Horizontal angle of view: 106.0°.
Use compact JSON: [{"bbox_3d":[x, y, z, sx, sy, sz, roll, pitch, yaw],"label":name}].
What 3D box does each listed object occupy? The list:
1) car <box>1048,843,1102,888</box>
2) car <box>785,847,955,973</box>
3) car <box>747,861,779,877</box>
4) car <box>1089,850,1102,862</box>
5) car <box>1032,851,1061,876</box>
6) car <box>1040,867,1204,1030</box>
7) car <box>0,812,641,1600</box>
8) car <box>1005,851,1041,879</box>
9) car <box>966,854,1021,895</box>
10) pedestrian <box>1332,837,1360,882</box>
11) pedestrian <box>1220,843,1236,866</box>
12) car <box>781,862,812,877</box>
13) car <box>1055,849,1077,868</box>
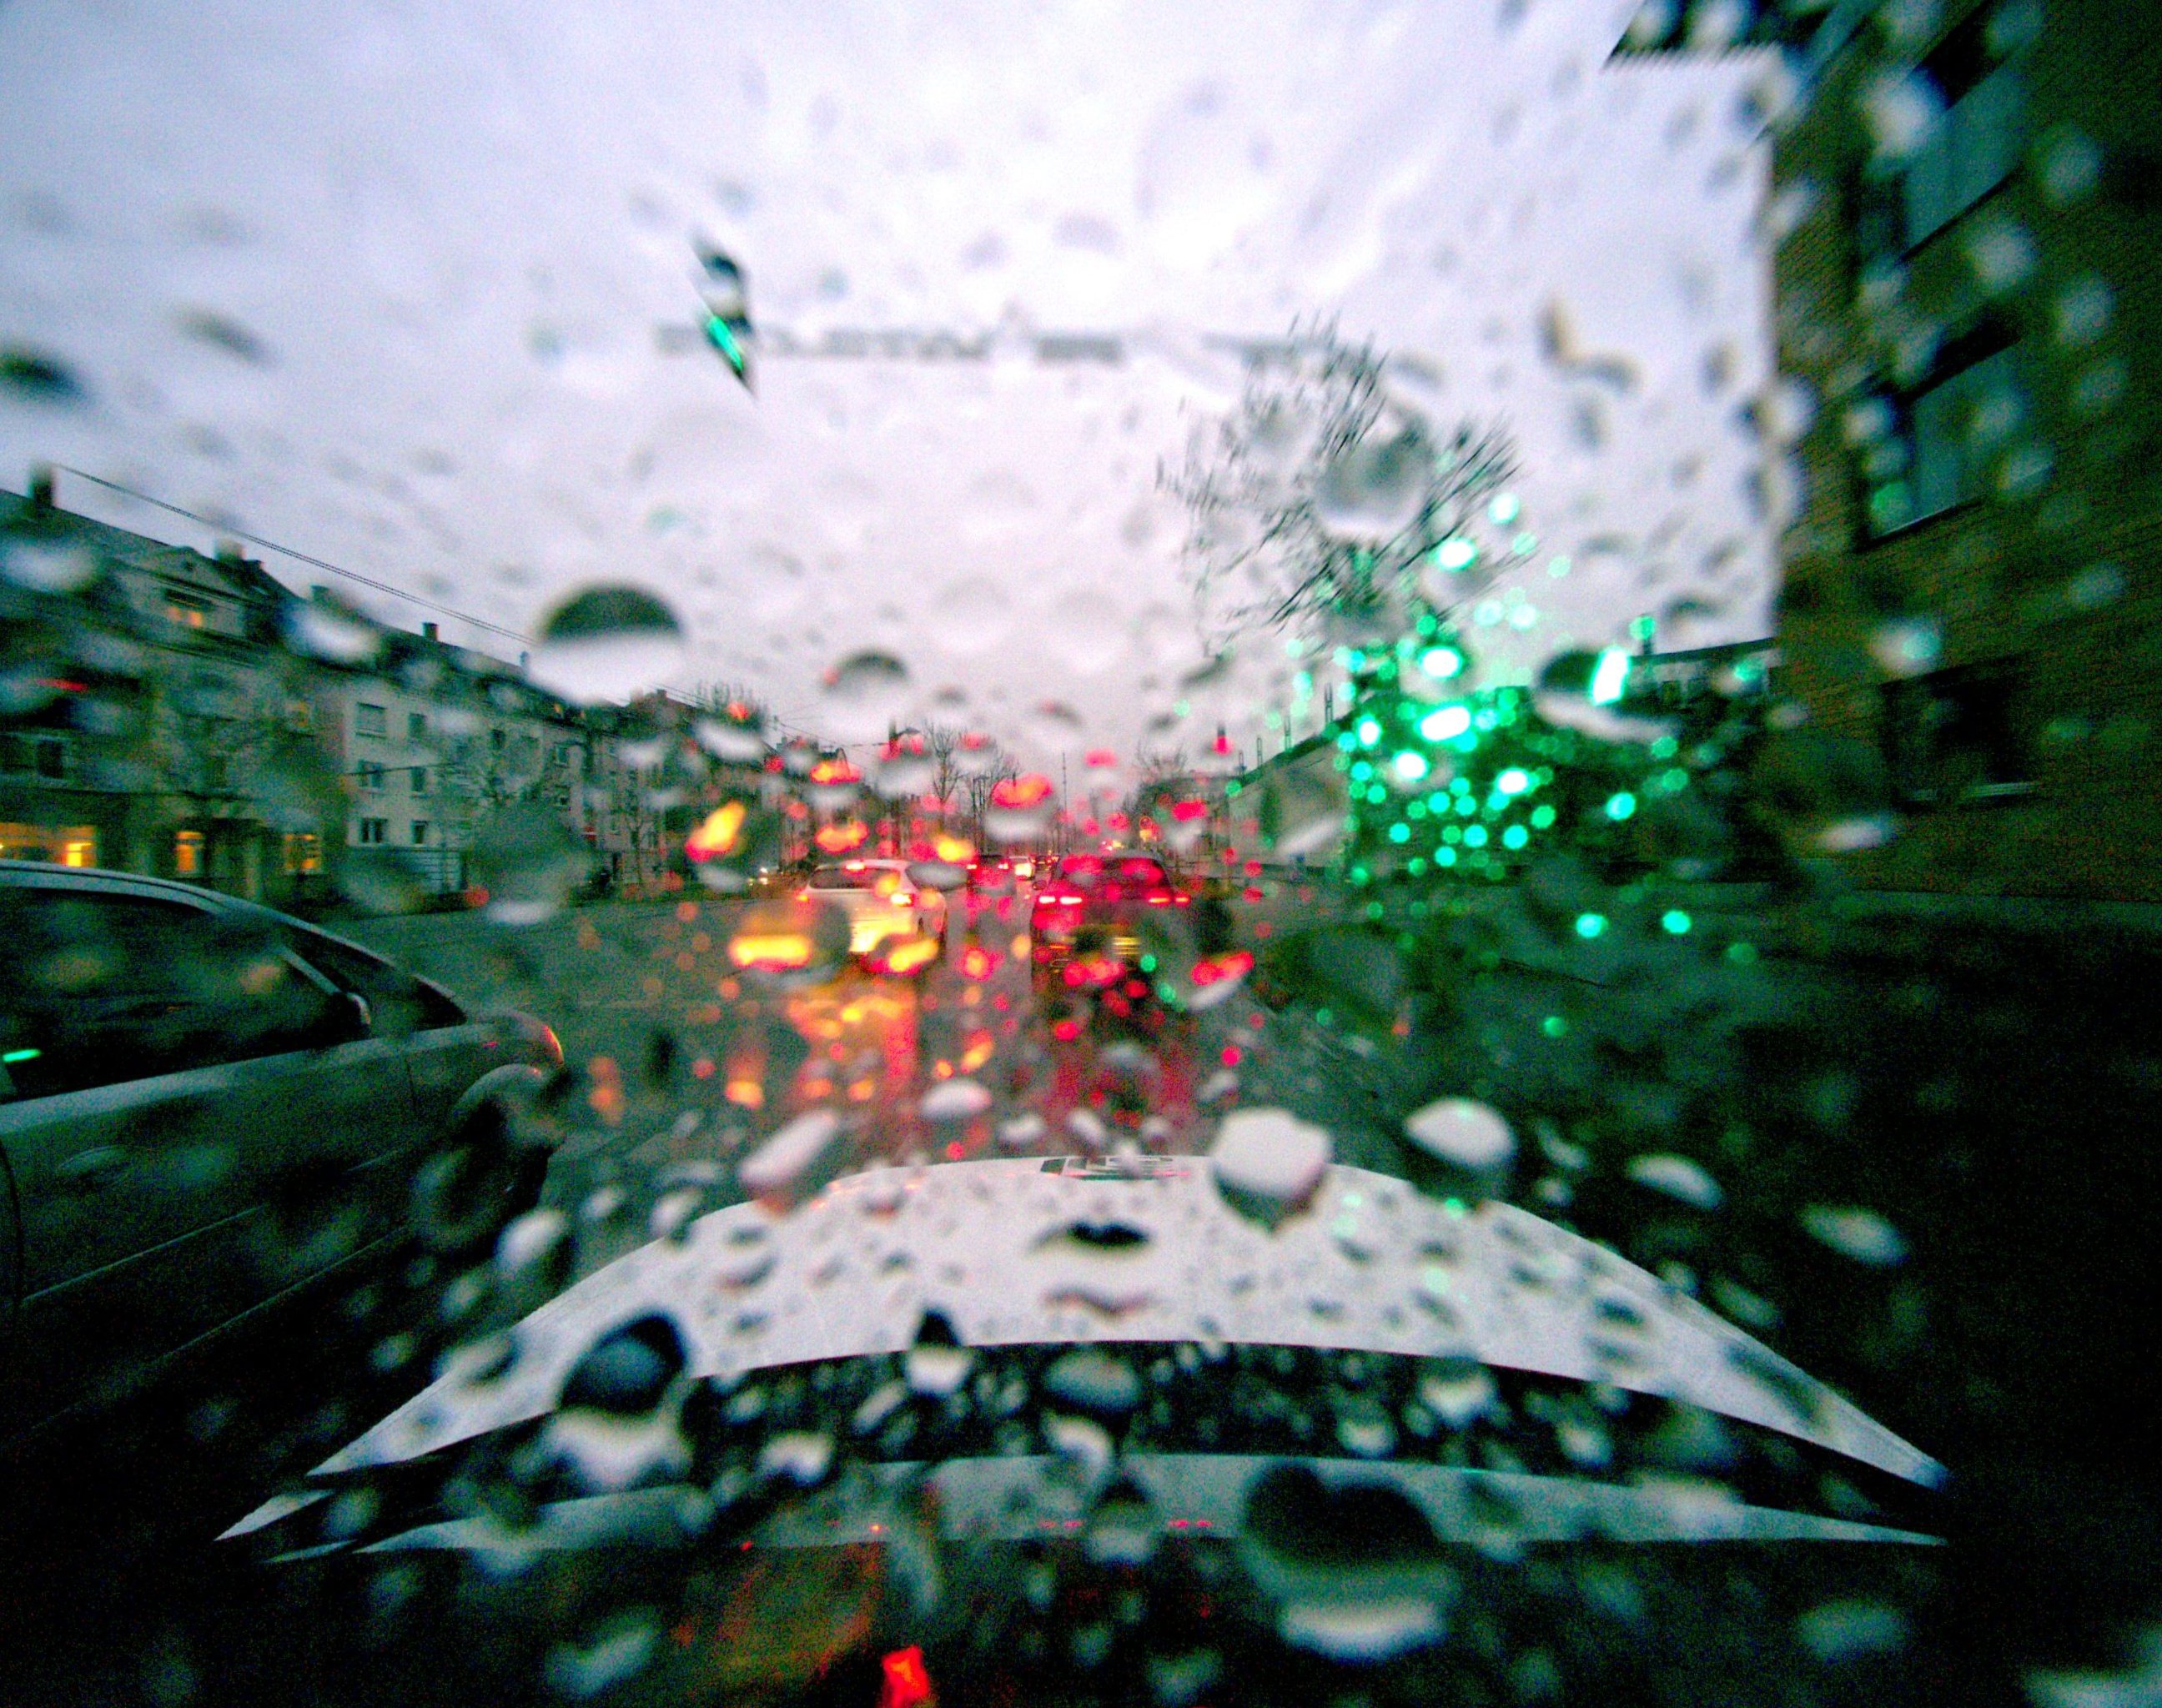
[{"bbox_3d":[-0.199,0.464,34.629,1.985,1.744,4.003,-2,0,3],"label":"car"},{"bbox_3d":[-3.051,0.730,12.606,1.668,1.600,4.050,-1,0,-2],"label":"car"},{"bbox_3d":[-33.424,1.593,85.707,1.769,1.500,3.558,-2,0,1],"label":"car"},{"bbox_3d":[2.524,0.327,140.247,1.985,2.013,4.004,-2,0,3],"label":"car"},{"bbox_3d":[-2.887,0.816,68.208,1.985,2.014,4.004,0,-1,4],"label":"car"},{"bbox_3d":[0.522,1.017,10.463,1.665,1.600,4.056,-1,0,3],"label":"car"},{"bbox_3d":[-3.103,0.728,1.982,1.803,1.600,4.053,-1,0,0],"label":"car"},{"bbox_3d":[-3.492,0.656,49.638,1.665,1.600,4.056,-1,0,3],"label":"car"},{"bbox_3d":[-3.644,0.818,34.530,1.665,1.600,4.056,-1,0,3],"label":"car"},{"bbox_3d":[9.657,0.198,29.722,0.619,1.610,1.066,-2,0,-2],"label":"pedestrian"},{"bbox_3d":[10.365,0.022,57.481,0.935,1.618,0.694,-2,0,-1],"label":"pedestrian"},{"bbox_3d":[-29.036,1.613,83.293,1.769,1.354,3.558,-2,0,1],"label":"car"},{"bbox_3d":[-1.591,0.510,88.399,1.985,2.014,4.004,0,-1,3],"label":"car"}]
